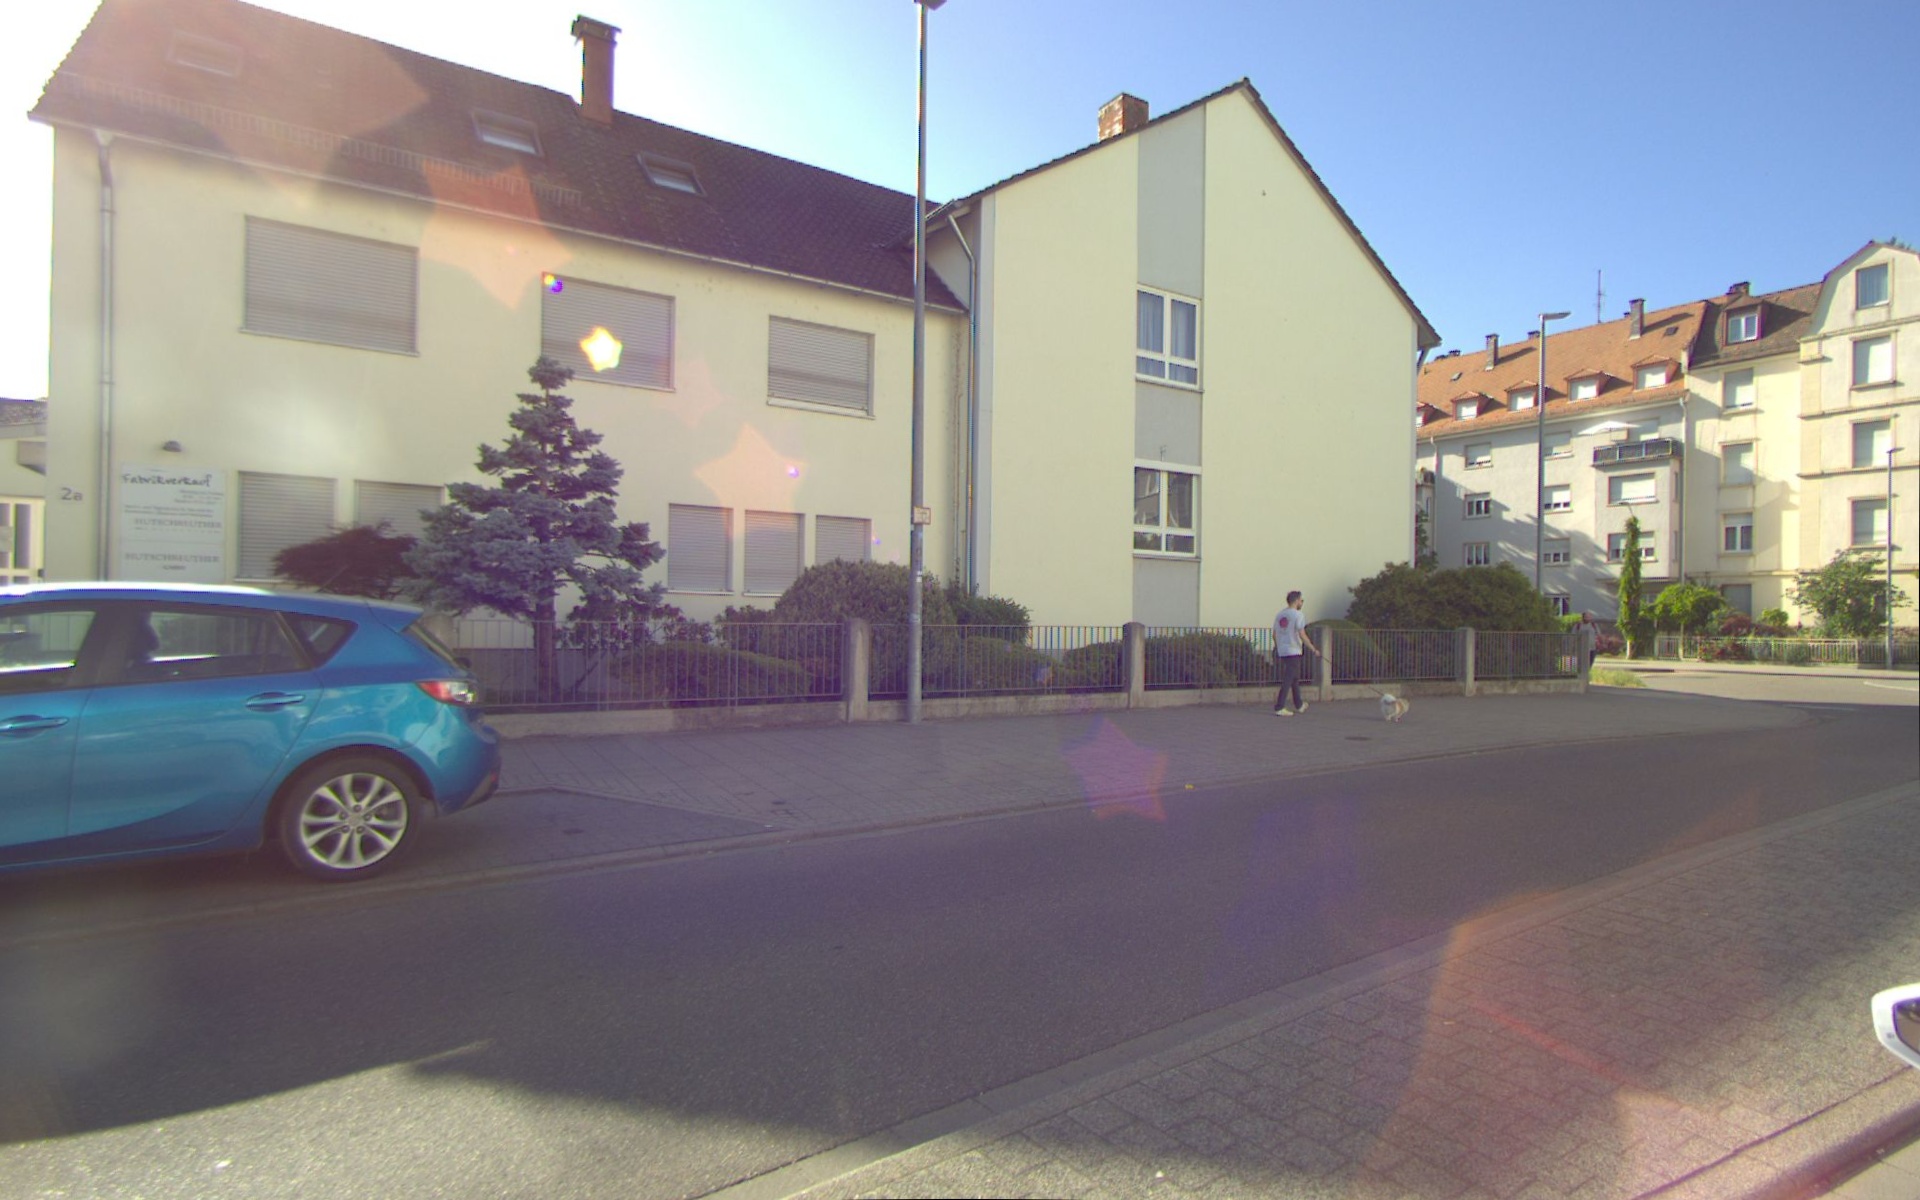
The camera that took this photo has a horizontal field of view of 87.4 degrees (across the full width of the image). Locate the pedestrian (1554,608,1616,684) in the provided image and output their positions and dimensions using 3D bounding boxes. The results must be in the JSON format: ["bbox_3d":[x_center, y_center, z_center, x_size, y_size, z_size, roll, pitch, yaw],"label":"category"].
[{"bbox_3d":[14.639,1.063,23.544,0.803,1.728,0.997,2,0,1],"label":"pedestrian"}]

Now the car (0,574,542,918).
[{"bbox_3d":[-4.616,0.603,4.983,4.374,1.453,1.866,1,0,-37],"label":"car"}]

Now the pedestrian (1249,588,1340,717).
[{"bbox_3d":[4.669,0.715,14.011,0.985,1.728,0.687,2,0,-29],"label":"pedestrian"}]
